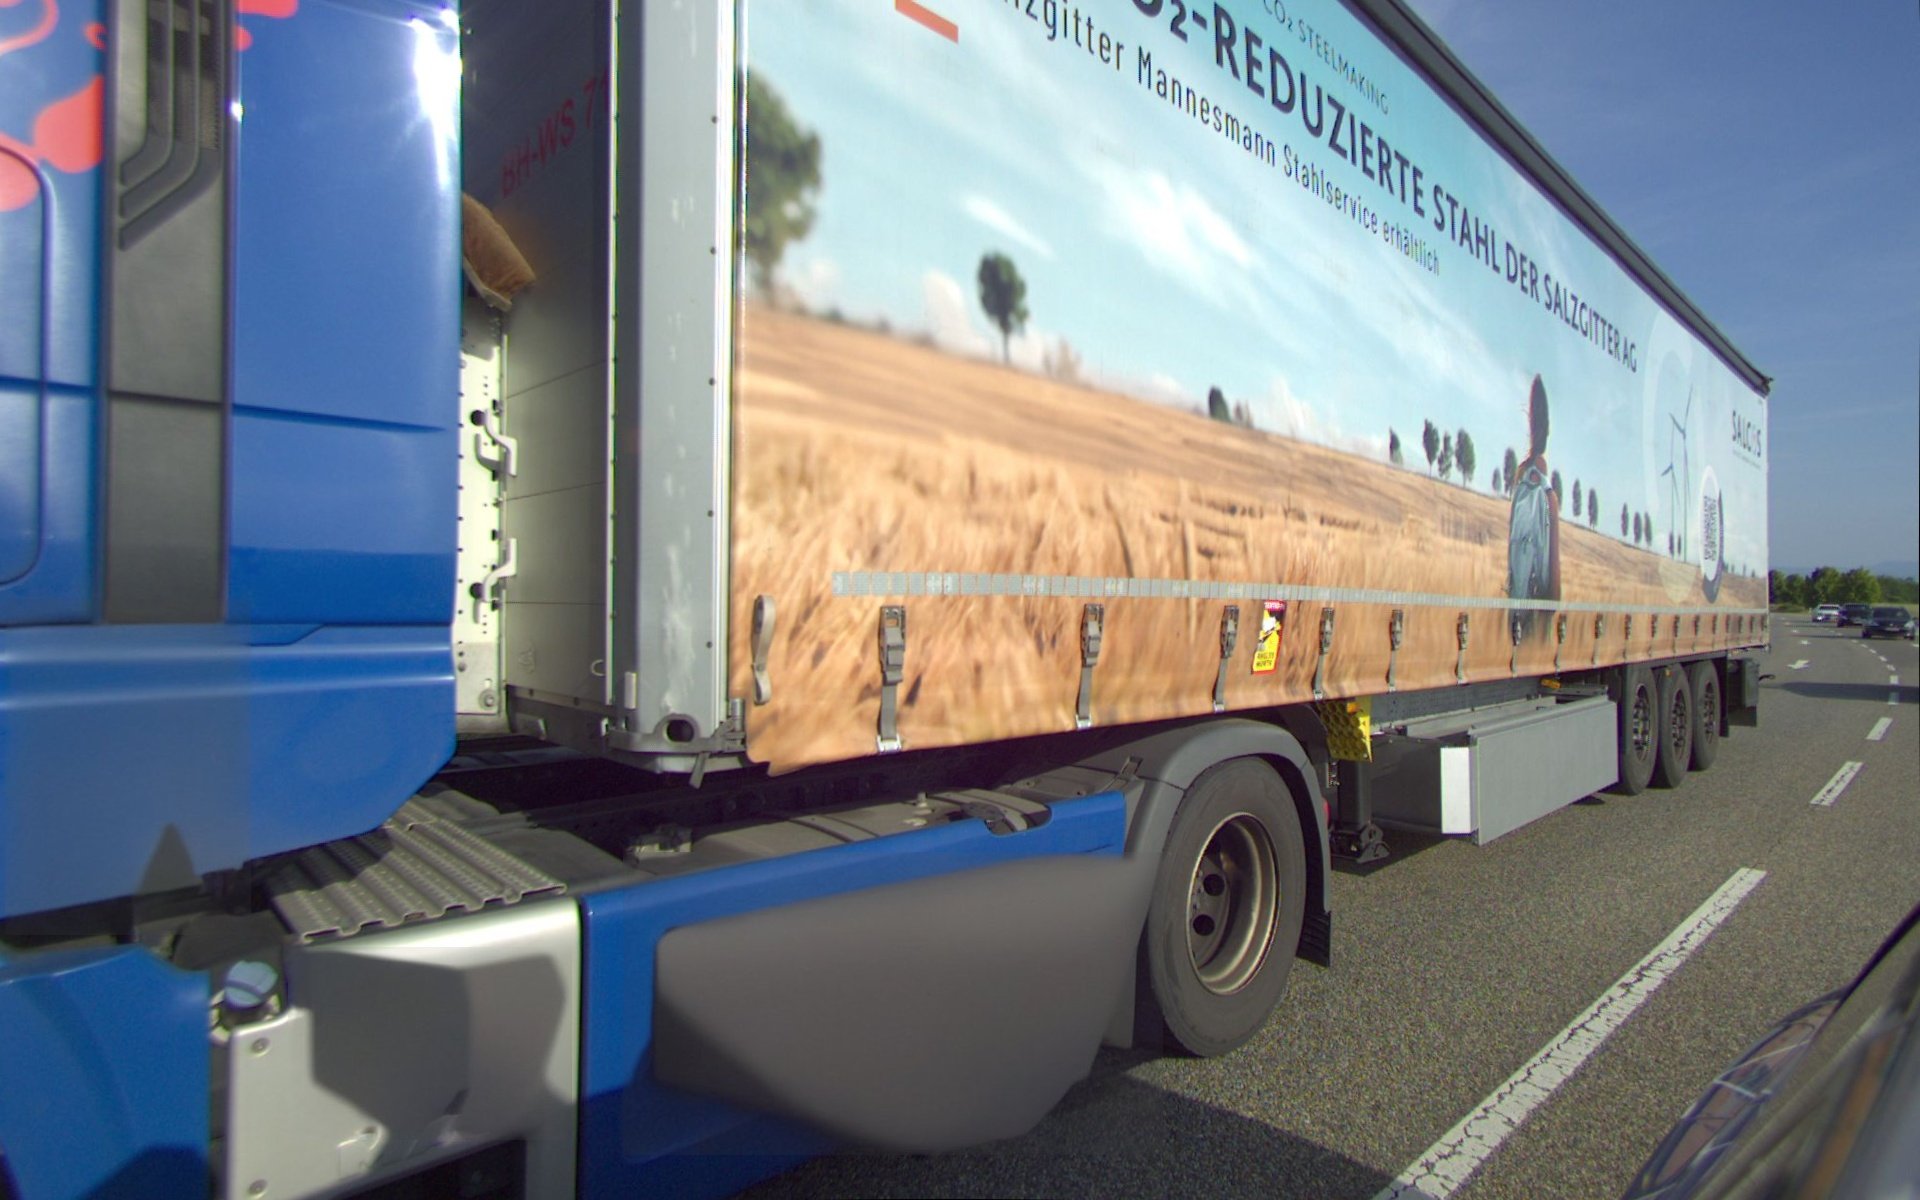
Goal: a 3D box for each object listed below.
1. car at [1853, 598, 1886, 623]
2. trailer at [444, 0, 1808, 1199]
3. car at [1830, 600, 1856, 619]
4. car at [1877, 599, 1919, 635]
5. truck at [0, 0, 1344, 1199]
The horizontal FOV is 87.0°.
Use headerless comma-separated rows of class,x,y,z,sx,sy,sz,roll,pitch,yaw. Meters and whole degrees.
car,59.241,0.675,65.949,1.552,1.579,3.003,2,1,42
trailer,3.483,-0.959,7.806,12.928,4.740,3.284,0,0,-44
car,70.215,0.705,80.477,1.552,1.417,3.975,2,1,41
car,42.780,0.753,45.974,1.579,1.523,3.606,2,1,41
truck,-1.857,-0.945,2.714,5.636,4.716,3.303,0,0,-43
